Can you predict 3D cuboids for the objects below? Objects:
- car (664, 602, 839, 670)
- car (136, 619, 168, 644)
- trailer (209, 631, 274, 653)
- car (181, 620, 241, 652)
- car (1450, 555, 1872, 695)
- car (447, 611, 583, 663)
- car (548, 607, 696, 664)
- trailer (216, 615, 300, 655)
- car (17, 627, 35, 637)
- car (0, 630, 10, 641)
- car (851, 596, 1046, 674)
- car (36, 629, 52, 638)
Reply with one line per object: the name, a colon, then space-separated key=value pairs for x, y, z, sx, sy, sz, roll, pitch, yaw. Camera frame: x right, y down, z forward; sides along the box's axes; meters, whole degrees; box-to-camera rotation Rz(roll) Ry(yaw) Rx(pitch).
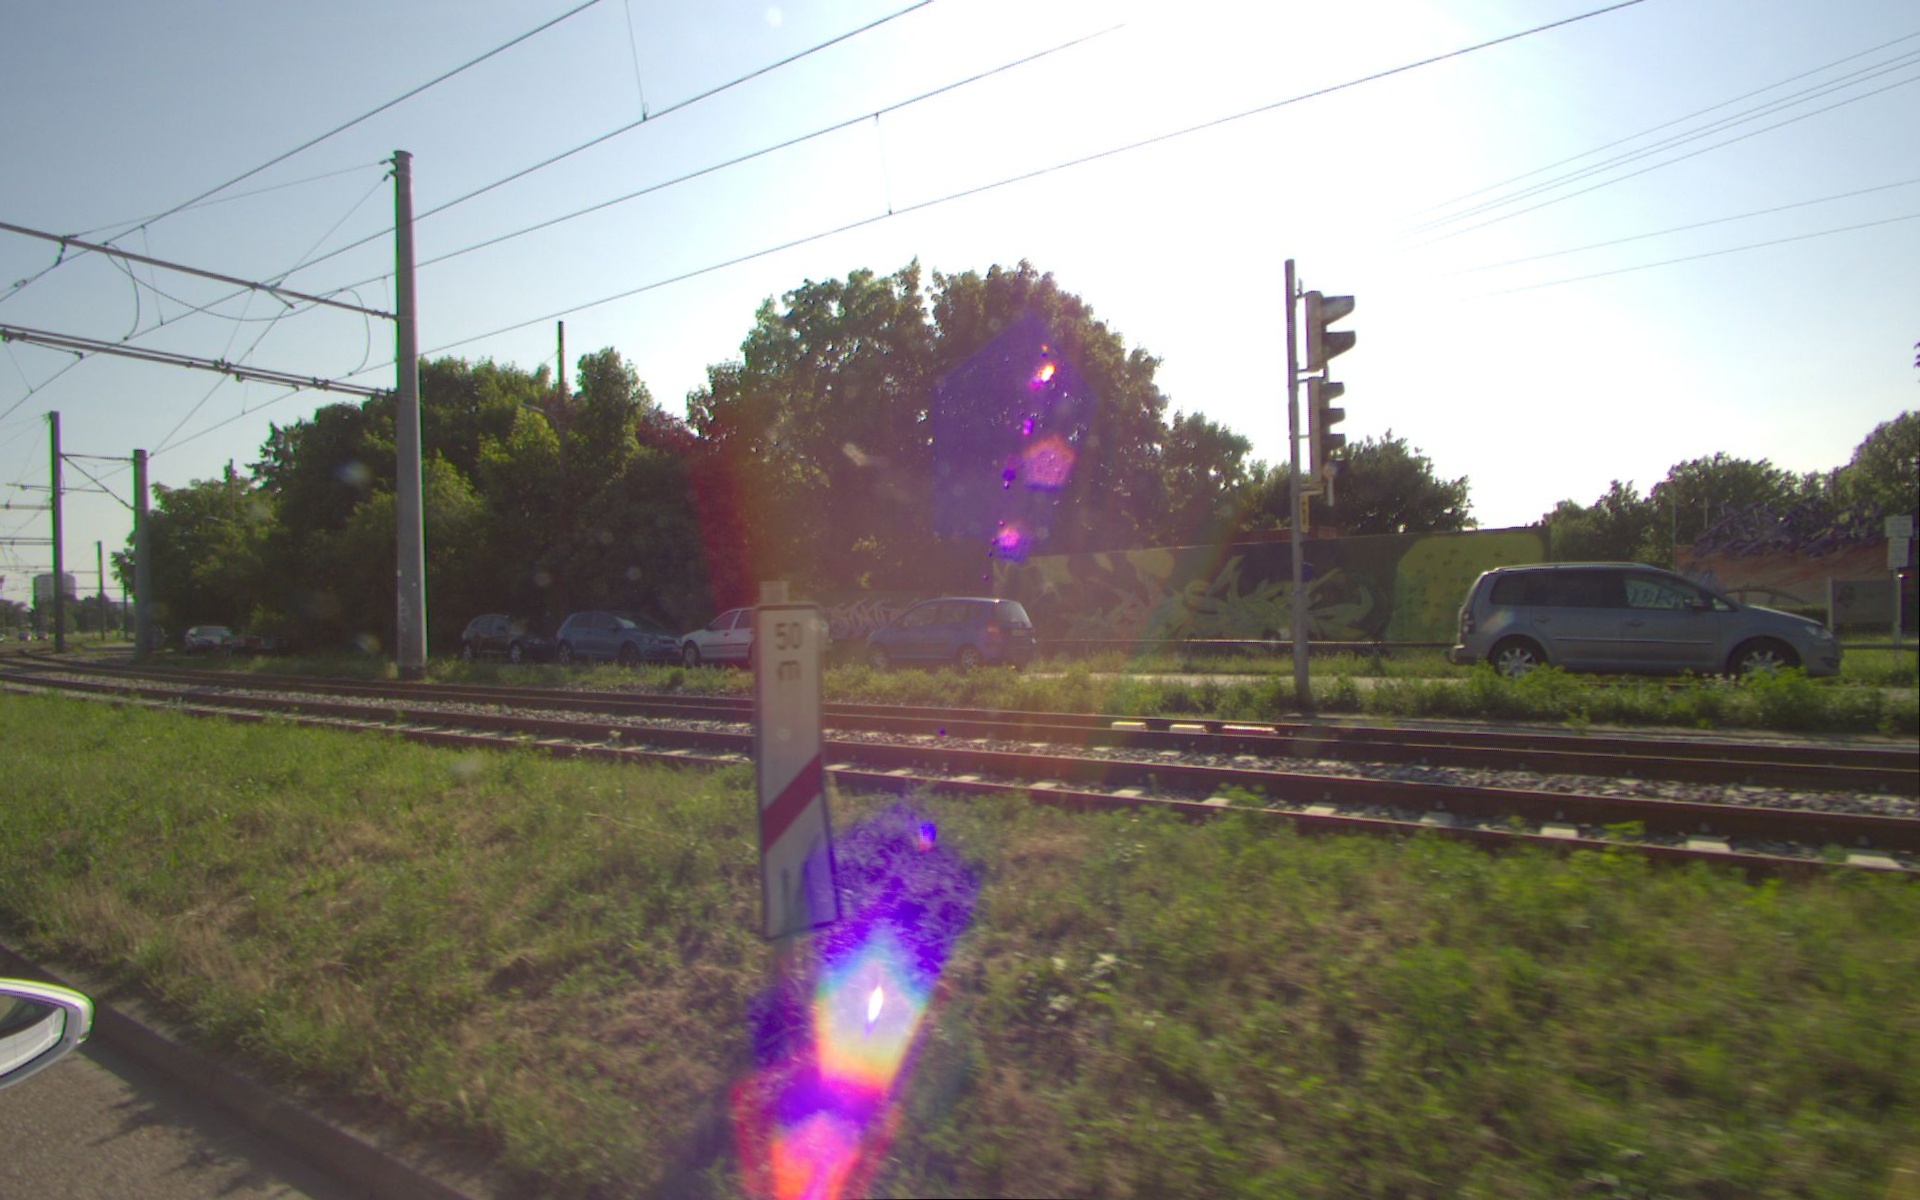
car: x=-5.074 y=0.825 z=24.133 sx=4.334 sy=1.485 sz=1.703 roll=-1 pitch=0 yaw=37
car: x=-68.153 y=2.660 z=84.499 sx=1.978 sy=2.029 sz=5.028 roll=3 pitch=-3 yaw=-38
trailer: x=-32.437 y=1.882 z=45.172 sx=3.688 sy=0.951 sz=1.723 roll=-2 pitch=-4 yaw=43
car: x=-36.066 y=1.714 z=48.190 sx=1.688 sy=1.475 sz=4.832 roll=3 pitch=-3 yaw=-44
car: x=9.084 y=0.316 z=13.437 sx=4.417 sy=1.632 sz=1.520 roll=-1 pitch=1 yaw=30
car: x=-13.167 y=1.073 z=29.527 sx=4.460 sy=1.428 sz=1.618 roll=-1 pitch=-2 yaw=35
car: x=-9.023 y=0.930 z=26.621 sx=4.091 sy=1.419 sz=1.481 roll=-1 pitch=0 yaw=32
trailer: x=-29.672 y=1.485 z=42.272 sx=4.214 sy=1.616 sz=2.017 roll=-2 pitch=-3 yaw=43
car: x=-158.450 y=5.418 z=169.855 sx=1.691 sy=1.687 sz=4.556 roll=0 pitch=-1 yaw=-37
car: x=-139.156 y=5.126 z=145.197 sx=1.679 sy=1.458 sz=4.251 roll=1 pitch=-2 yaw=-38
car: x=-0.291 y=0.708 z=20.661 sx=3.863 sy=1.448 sz=1.672 roll=-1 pitch=-2 yaw=39
car: x=-170.169 y=6.203 z=186.040 sx=1.697 sy=1.569 sz=3.901 roll=0 pitch=-1 yaw=-36
